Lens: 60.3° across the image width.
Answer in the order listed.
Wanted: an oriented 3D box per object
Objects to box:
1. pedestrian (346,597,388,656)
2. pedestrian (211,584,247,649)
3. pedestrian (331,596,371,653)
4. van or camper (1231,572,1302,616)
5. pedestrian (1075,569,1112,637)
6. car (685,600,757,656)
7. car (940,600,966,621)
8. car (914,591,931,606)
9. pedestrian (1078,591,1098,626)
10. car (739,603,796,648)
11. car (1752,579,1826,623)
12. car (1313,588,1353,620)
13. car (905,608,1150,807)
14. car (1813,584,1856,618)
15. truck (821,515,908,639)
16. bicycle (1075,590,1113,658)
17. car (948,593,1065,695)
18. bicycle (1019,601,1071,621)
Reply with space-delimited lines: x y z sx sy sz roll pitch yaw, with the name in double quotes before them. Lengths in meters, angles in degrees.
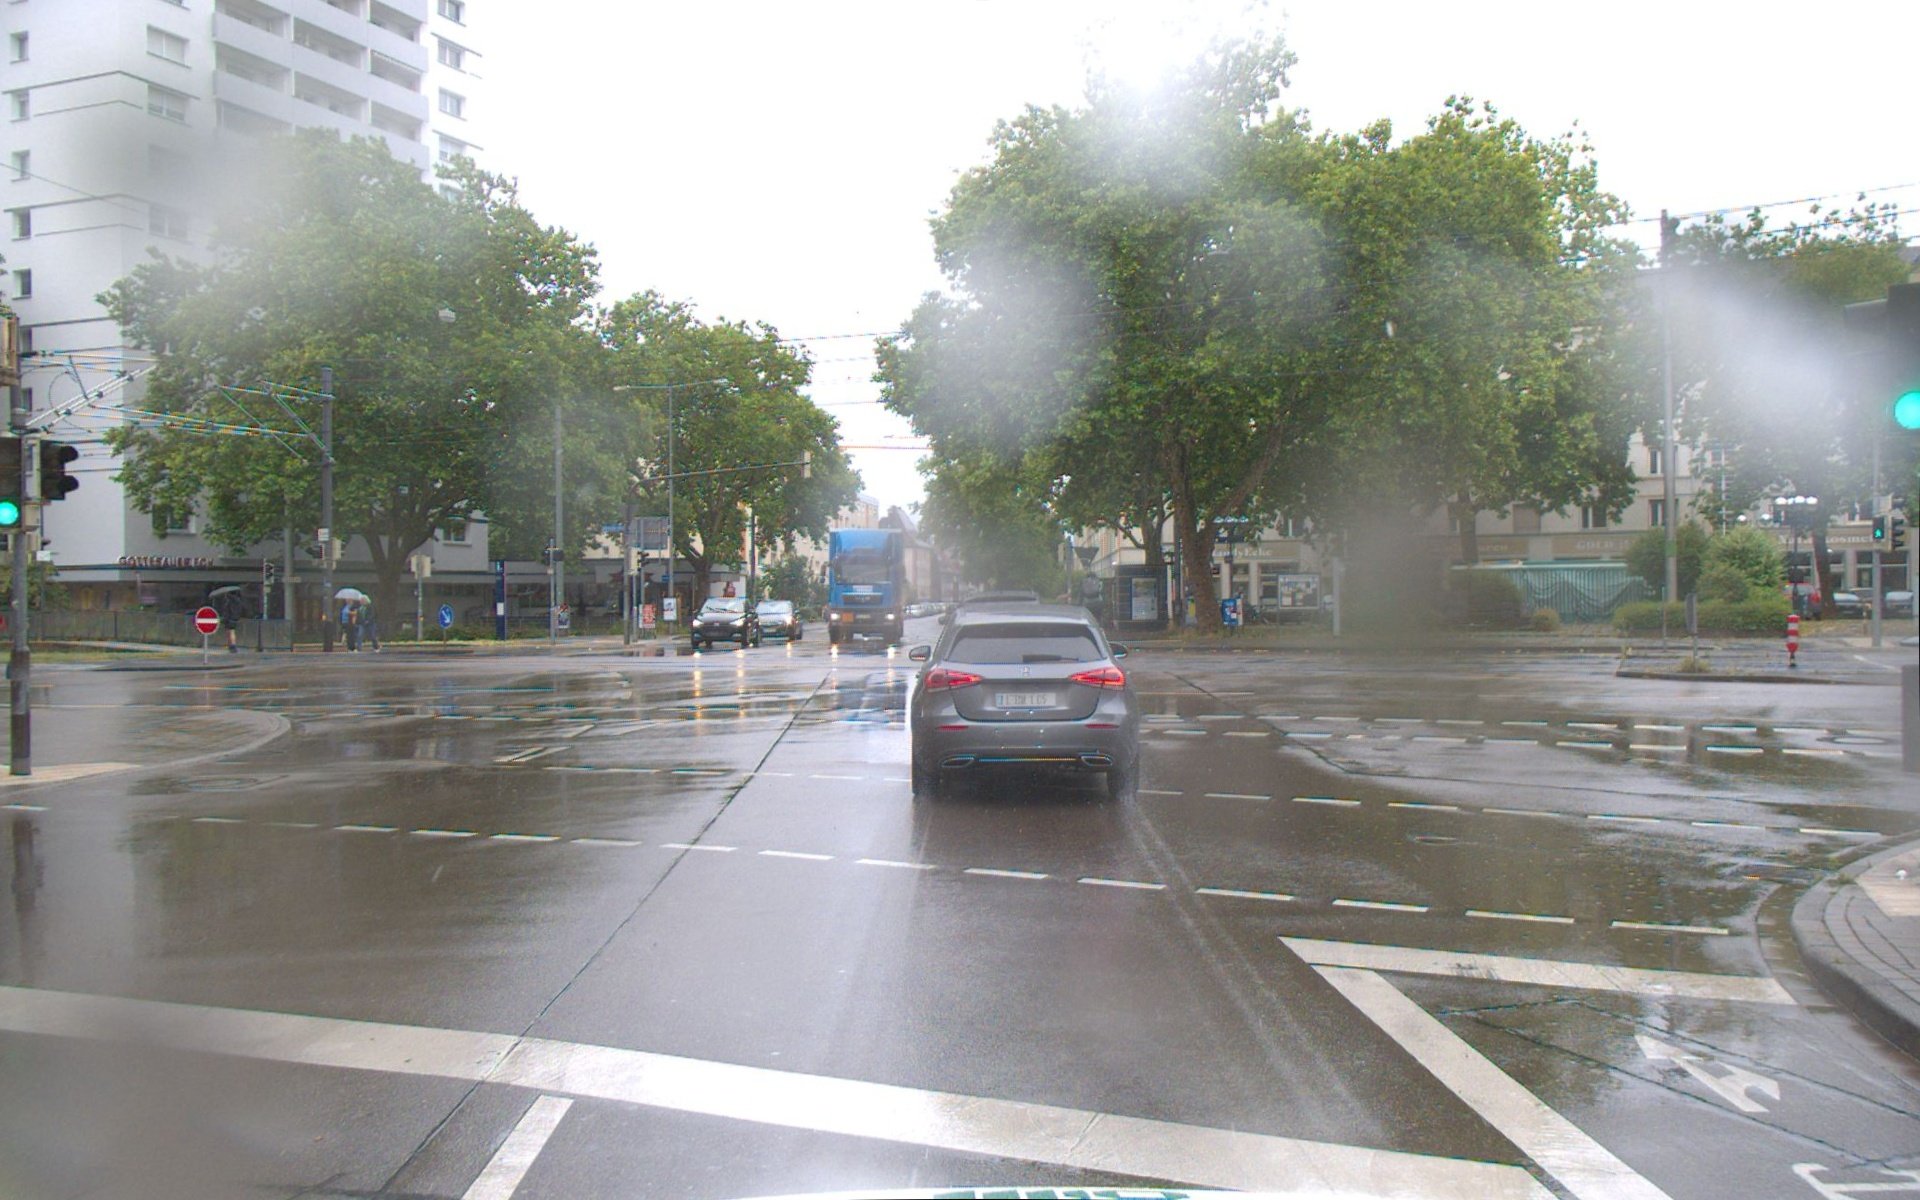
"pedestrian" -17.160 0.761 47.856 0.817 1.677 0.756 -2 0 14
"pedestrian" -21.472 0.486 48.612 0.663 1.870 0.640 -2 0 22
"pedestrian" -18.244 0.725 49.554 0.774 1.677 0.817 -2 0 14
"van or camper" 16.598 -0.323 89.295 2.349 2.270 5.424 -1 -1 26
"pedestrian" 2.907 0.068 35.954 0.728 1.422 1.048 -2 0 5
"car" -7.212 0.812 50.185 1.708 1.573 3.777 -2 0 -2
"car" -0.565 0.865 131.188 1.953 1.601 3.998 -1 0 -2
"car" -4.656 -0.172 206.761 1.850 1.868 4.001 -1 0 2
"pedestrian" 6.259 0.403 80.656 0.659 1.698 0.708 0 -1 -40
"car" -7.096 0.922 61.432 1.691 1.573 4.338 -2 0 -2
"car" 31.020 0.048 61.973 1.627 1.548 3.682 -1 0 14
"car" 19.681 0.233 87.240 1.644 1.603 3.737 -1 -1 19
"car" 0.449 0.780 13.612 1.755 1.396 3.506 0 0 -1
"car" 41.905 0.057 79.296 1.518 1.492 3.365 -1 -2 23
"truck" -3.369 -0.759 60.694 2.788 4.095 10.312 -2 0 -2
"bicycle" 2.921 0.497 35.875 0.733 1.401 2.709 -2 0 6
"car" 0.643 0.626 25.599 1.575 1.396 3.999 -2 0 -1
"bicycle" 5.390 0.704 104.919 3.158 1.131 1.048 -1 -4 -20
